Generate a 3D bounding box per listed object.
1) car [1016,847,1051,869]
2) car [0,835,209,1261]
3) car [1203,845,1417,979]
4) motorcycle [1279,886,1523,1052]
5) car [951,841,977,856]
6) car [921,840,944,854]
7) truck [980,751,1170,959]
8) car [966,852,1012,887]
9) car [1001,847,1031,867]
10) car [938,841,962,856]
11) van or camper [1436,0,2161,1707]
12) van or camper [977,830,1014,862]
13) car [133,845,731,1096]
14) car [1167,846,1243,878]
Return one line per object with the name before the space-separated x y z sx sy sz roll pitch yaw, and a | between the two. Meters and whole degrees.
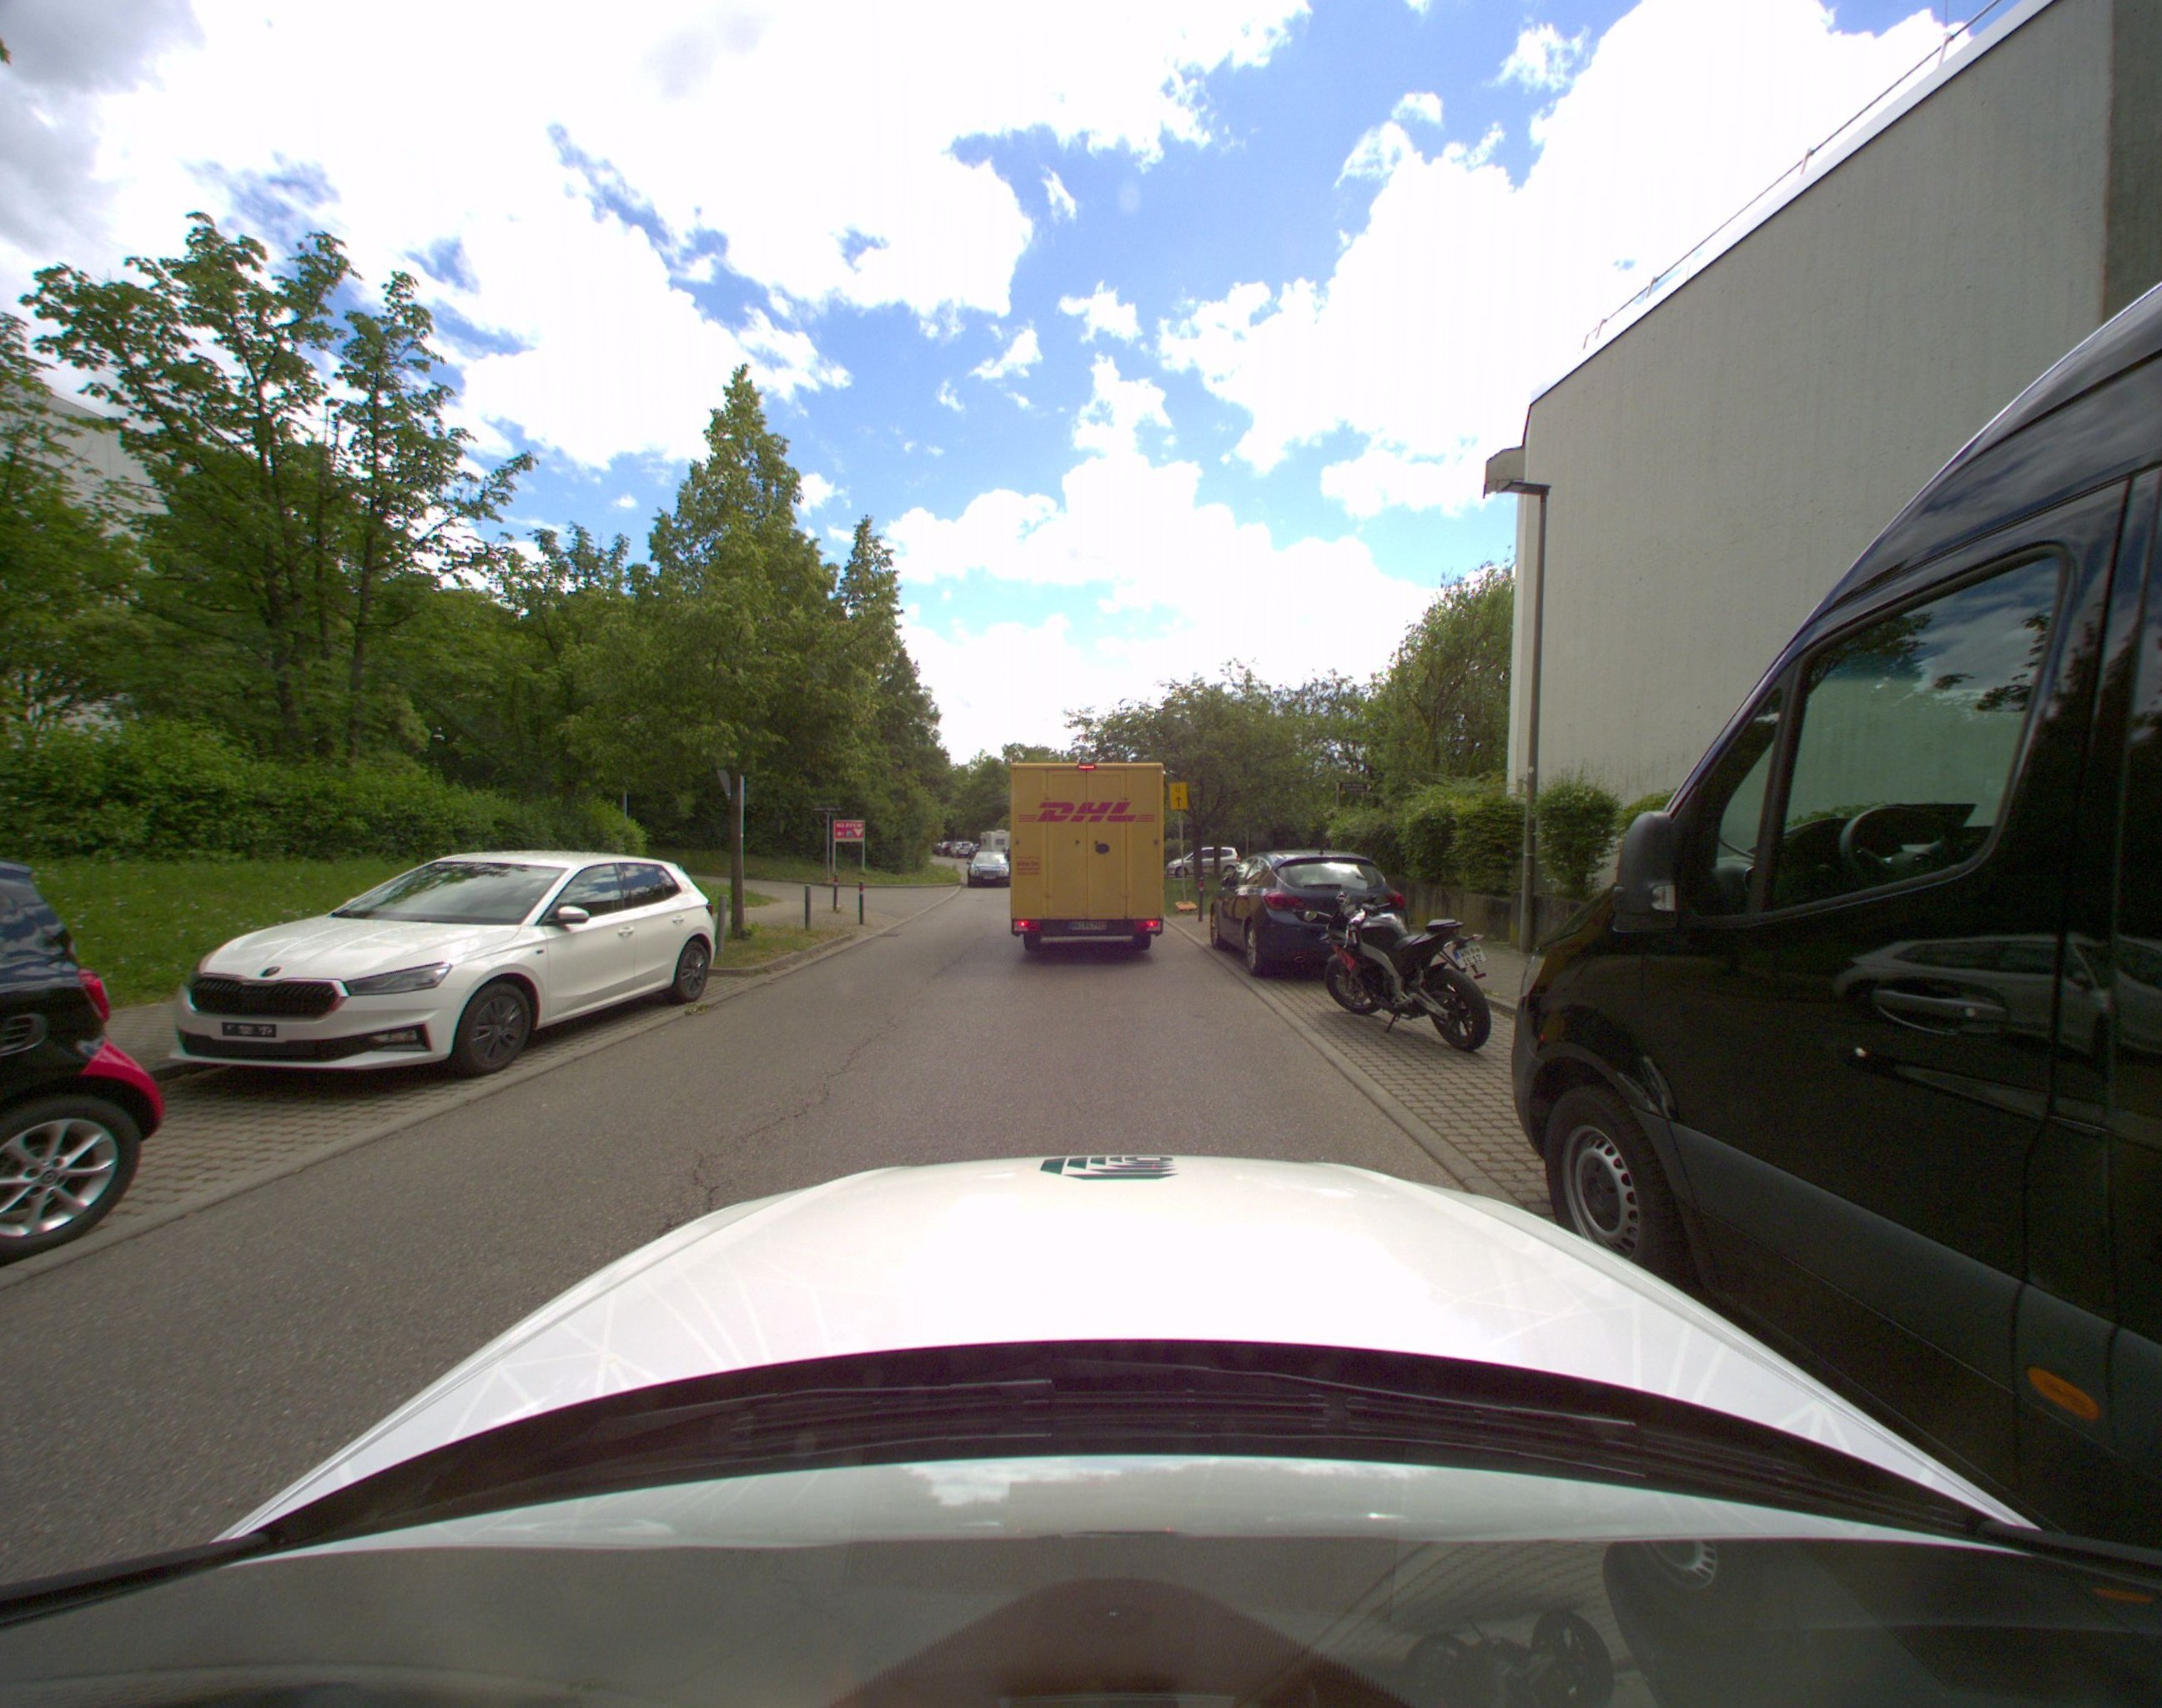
car | -3.659 0.260 62.428 1.847 1.529 3.980 1 2 -15
car | -4.620 0.681 2.195 1.522 1.506 2.715 1 0 3
car | 2.811 0.651 10.911 1.723 1.433 3.967 1 0 0
motorcycle | 2.490 0.830 6.697 0.899 1.111 2.076 1 -2 -11
car | -12.796 -0.609 88.991 1.852 1.529 3.969 0 2 -24
car | -18.302 -0.845 100.232 1.852 1.613 3.969 0 2 -24
truck | -0.120 -0.017 14.277 2.459 2.702 6.822 -2 0 -1
car | -3.850 0.630 34.598 1.671 1.355 3.964 1 0 -3
car | -5.593 0.250 69.702 1.847 1.529 3.980 1 2 -15
car | -15.243 -0.609 94.600 1.852 1.613 3.969 0 2 -24
van or camper | 2.441 0.058 0.671 1.986 2.523 5.473 -2 0 2
van or camper | -8.103 -0.765 76.471 2.331 2.871 5.228 1 2 -19
car | -4.675 0.671 6.773 1.668 1.436 3.971 1 0 2
car | 6.273 0.402 41.532 3.617 1.486 1.692 1 2 1
